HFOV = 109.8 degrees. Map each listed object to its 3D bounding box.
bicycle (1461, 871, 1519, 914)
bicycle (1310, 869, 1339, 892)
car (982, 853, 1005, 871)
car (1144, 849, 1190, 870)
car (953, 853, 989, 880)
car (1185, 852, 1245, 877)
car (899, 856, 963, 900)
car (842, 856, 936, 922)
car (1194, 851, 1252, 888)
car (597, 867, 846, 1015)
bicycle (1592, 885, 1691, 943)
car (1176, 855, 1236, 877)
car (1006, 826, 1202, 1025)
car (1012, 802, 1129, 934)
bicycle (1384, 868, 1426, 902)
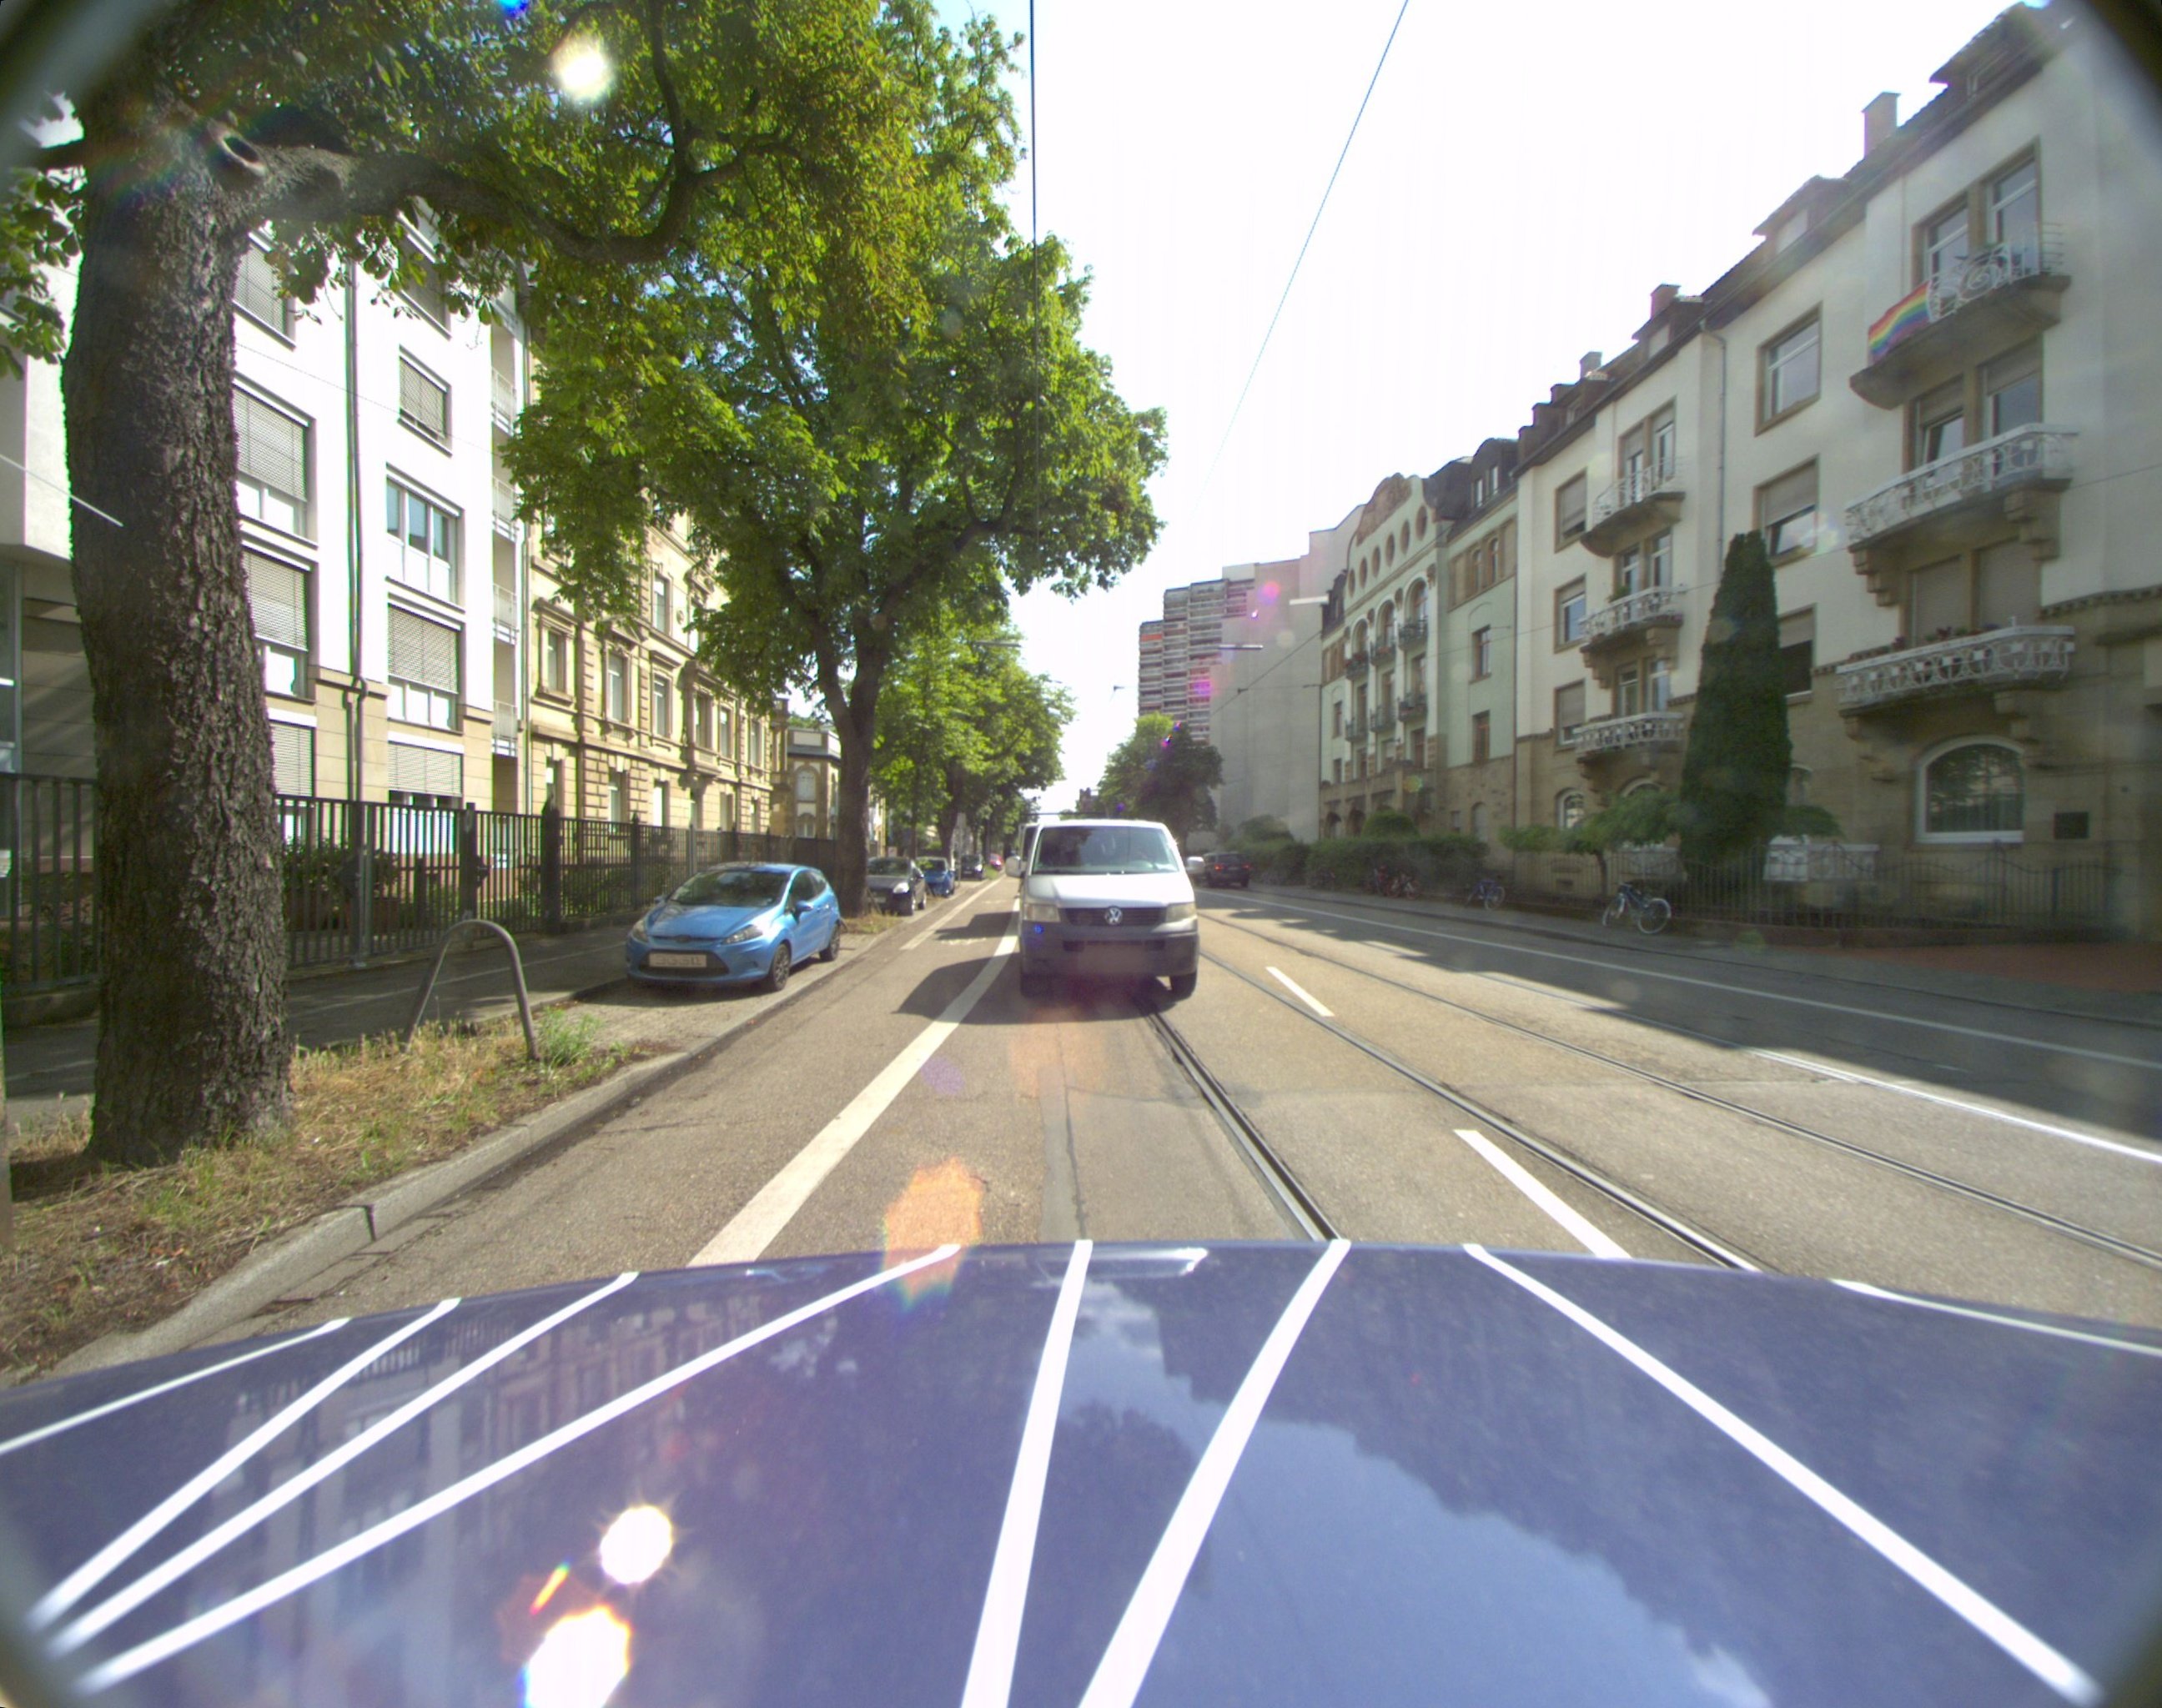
[{"bbox_3d":[10.851,1.001,20.213,0.539,1.024,1.872,0,1,1],"label":"bicycle"},{"bbox_3d":[9.797,1.054,30.649,0.587,0.792,1.872,-2,1,1],"label":"bicycle"},{"bbox_3d":[-8.010,0.695,69.960,1.774,1.563,4.198,2,0,-3],"label":"car"},{"bbox_3d":[7.846,0.478,69.715,3.997,1.914,1.830,0,1,-1],"label":"car"},{"bbox_3d":[-6.790,0.753,47.127,1.774,1.522,4.198,2,0,-3],"label":"car"},{"bbox_3d":[8.881,0.679,50.565,3.631,1.630,1.610,0,1,-3],"label":"car"},{"bbox_3d":[-5.497,0.832,28.262,1.724,1.443,3.924,2,0,-3],"label":"car"},{"bbox_3d":[-4.983,0.851,20.151,1.644,1.499,3.621,2,0,-2],"label":"car"},{"bbox_3d":[6.909,0.712,37.442,1.796,1.701,4.329,0,0,-4],"label":"car"},{"bbox_3d":[-4.356,0.953,9.866,1.642,1.447,3.697,2,0,-4],"label":"car"},{"bbox_3d":[11.024,1.148,15.036,0.524,0.901,2.067,0,2,4],"label":"bicycle"},{"bbox_3d":[8.755,0.830,53.492,3.890,1.527,1.634,0,1,-2],"label":"car"},{"bbox_3d":[0.244,0.663,9.576,1.831,1.856,4.845,-1,0,1],"label":"car"},{"bbox_3d":[-0.442,0.252,17.702,2.169,2.572,5.660,0,0,-6],"label":"car"},{"bbox_3d":[10.501,0.987,24.699,0.587,0.980,1.872,0,1,1],"label":"bicycle"}]
